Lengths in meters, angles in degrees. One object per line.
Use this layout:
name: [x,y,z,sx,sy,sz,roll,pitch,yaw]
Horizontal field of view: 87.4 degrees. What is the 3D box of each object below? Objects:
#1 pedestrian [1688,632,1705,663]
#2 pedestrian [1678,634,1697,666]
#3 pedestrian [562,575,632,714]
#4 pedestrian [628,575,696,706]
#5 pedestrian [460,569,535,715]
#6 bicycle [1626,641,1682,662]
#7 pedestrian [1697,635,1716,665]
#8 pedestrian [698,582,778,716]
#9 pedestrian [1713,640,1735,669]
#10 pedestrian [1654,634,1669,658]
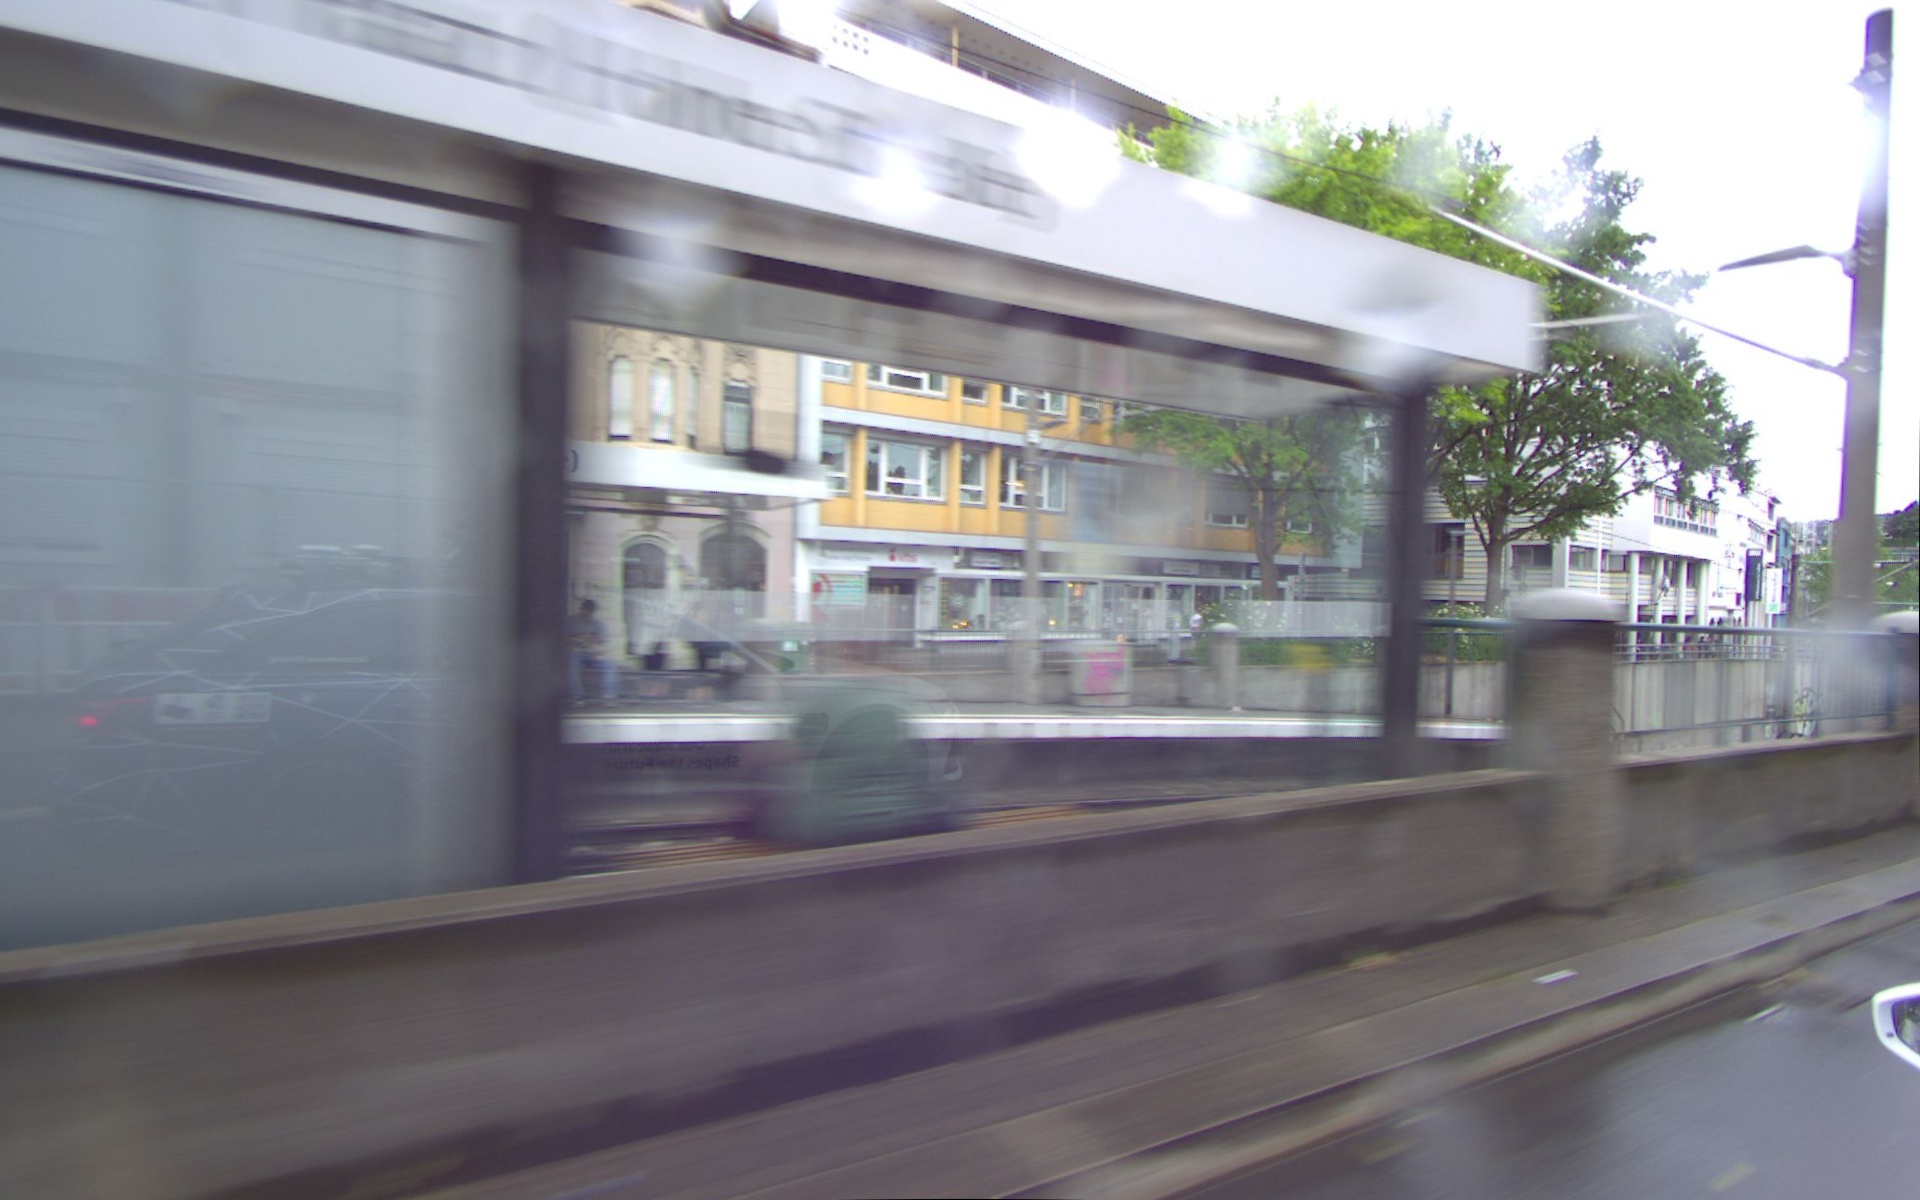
pedestrian: [43.941,2.843,59.937,0.661,1.808,0.941,2,0,29]
pedestrian: [39.176,2.683,54.105,0.661,1.637,0.941,2,0,29]
pedestrian: [-4.564,0.568,12.620,0.767,1.670,0.770,1,-5,-25]
pedestrian: [-3.941,0.551,13.263,0.767,1.670,0.770,1,-5,-25]
pedestrian: [-5.533,0.514,12.036,0.767,1.670,0.770,1,-5,-25]
bicycle: [39.962,2.922,57.806,4.489,1.057,1.677,2,1,-43]
pedestrian: [45.333,3.037,60.999,0.660,1.745,0.609,2,0,4]
pedestrian: [-2.896,0.643,13.063,0.883,1.670,0.675,1,-5,-25]
pedestrian: [45.390,3.207,59.706,0.660,1.664,0.795,2,0,-1]
pedestrian: [43.788,2.885,62.714,0.668,1.438,0.602,3,-1,-41]
